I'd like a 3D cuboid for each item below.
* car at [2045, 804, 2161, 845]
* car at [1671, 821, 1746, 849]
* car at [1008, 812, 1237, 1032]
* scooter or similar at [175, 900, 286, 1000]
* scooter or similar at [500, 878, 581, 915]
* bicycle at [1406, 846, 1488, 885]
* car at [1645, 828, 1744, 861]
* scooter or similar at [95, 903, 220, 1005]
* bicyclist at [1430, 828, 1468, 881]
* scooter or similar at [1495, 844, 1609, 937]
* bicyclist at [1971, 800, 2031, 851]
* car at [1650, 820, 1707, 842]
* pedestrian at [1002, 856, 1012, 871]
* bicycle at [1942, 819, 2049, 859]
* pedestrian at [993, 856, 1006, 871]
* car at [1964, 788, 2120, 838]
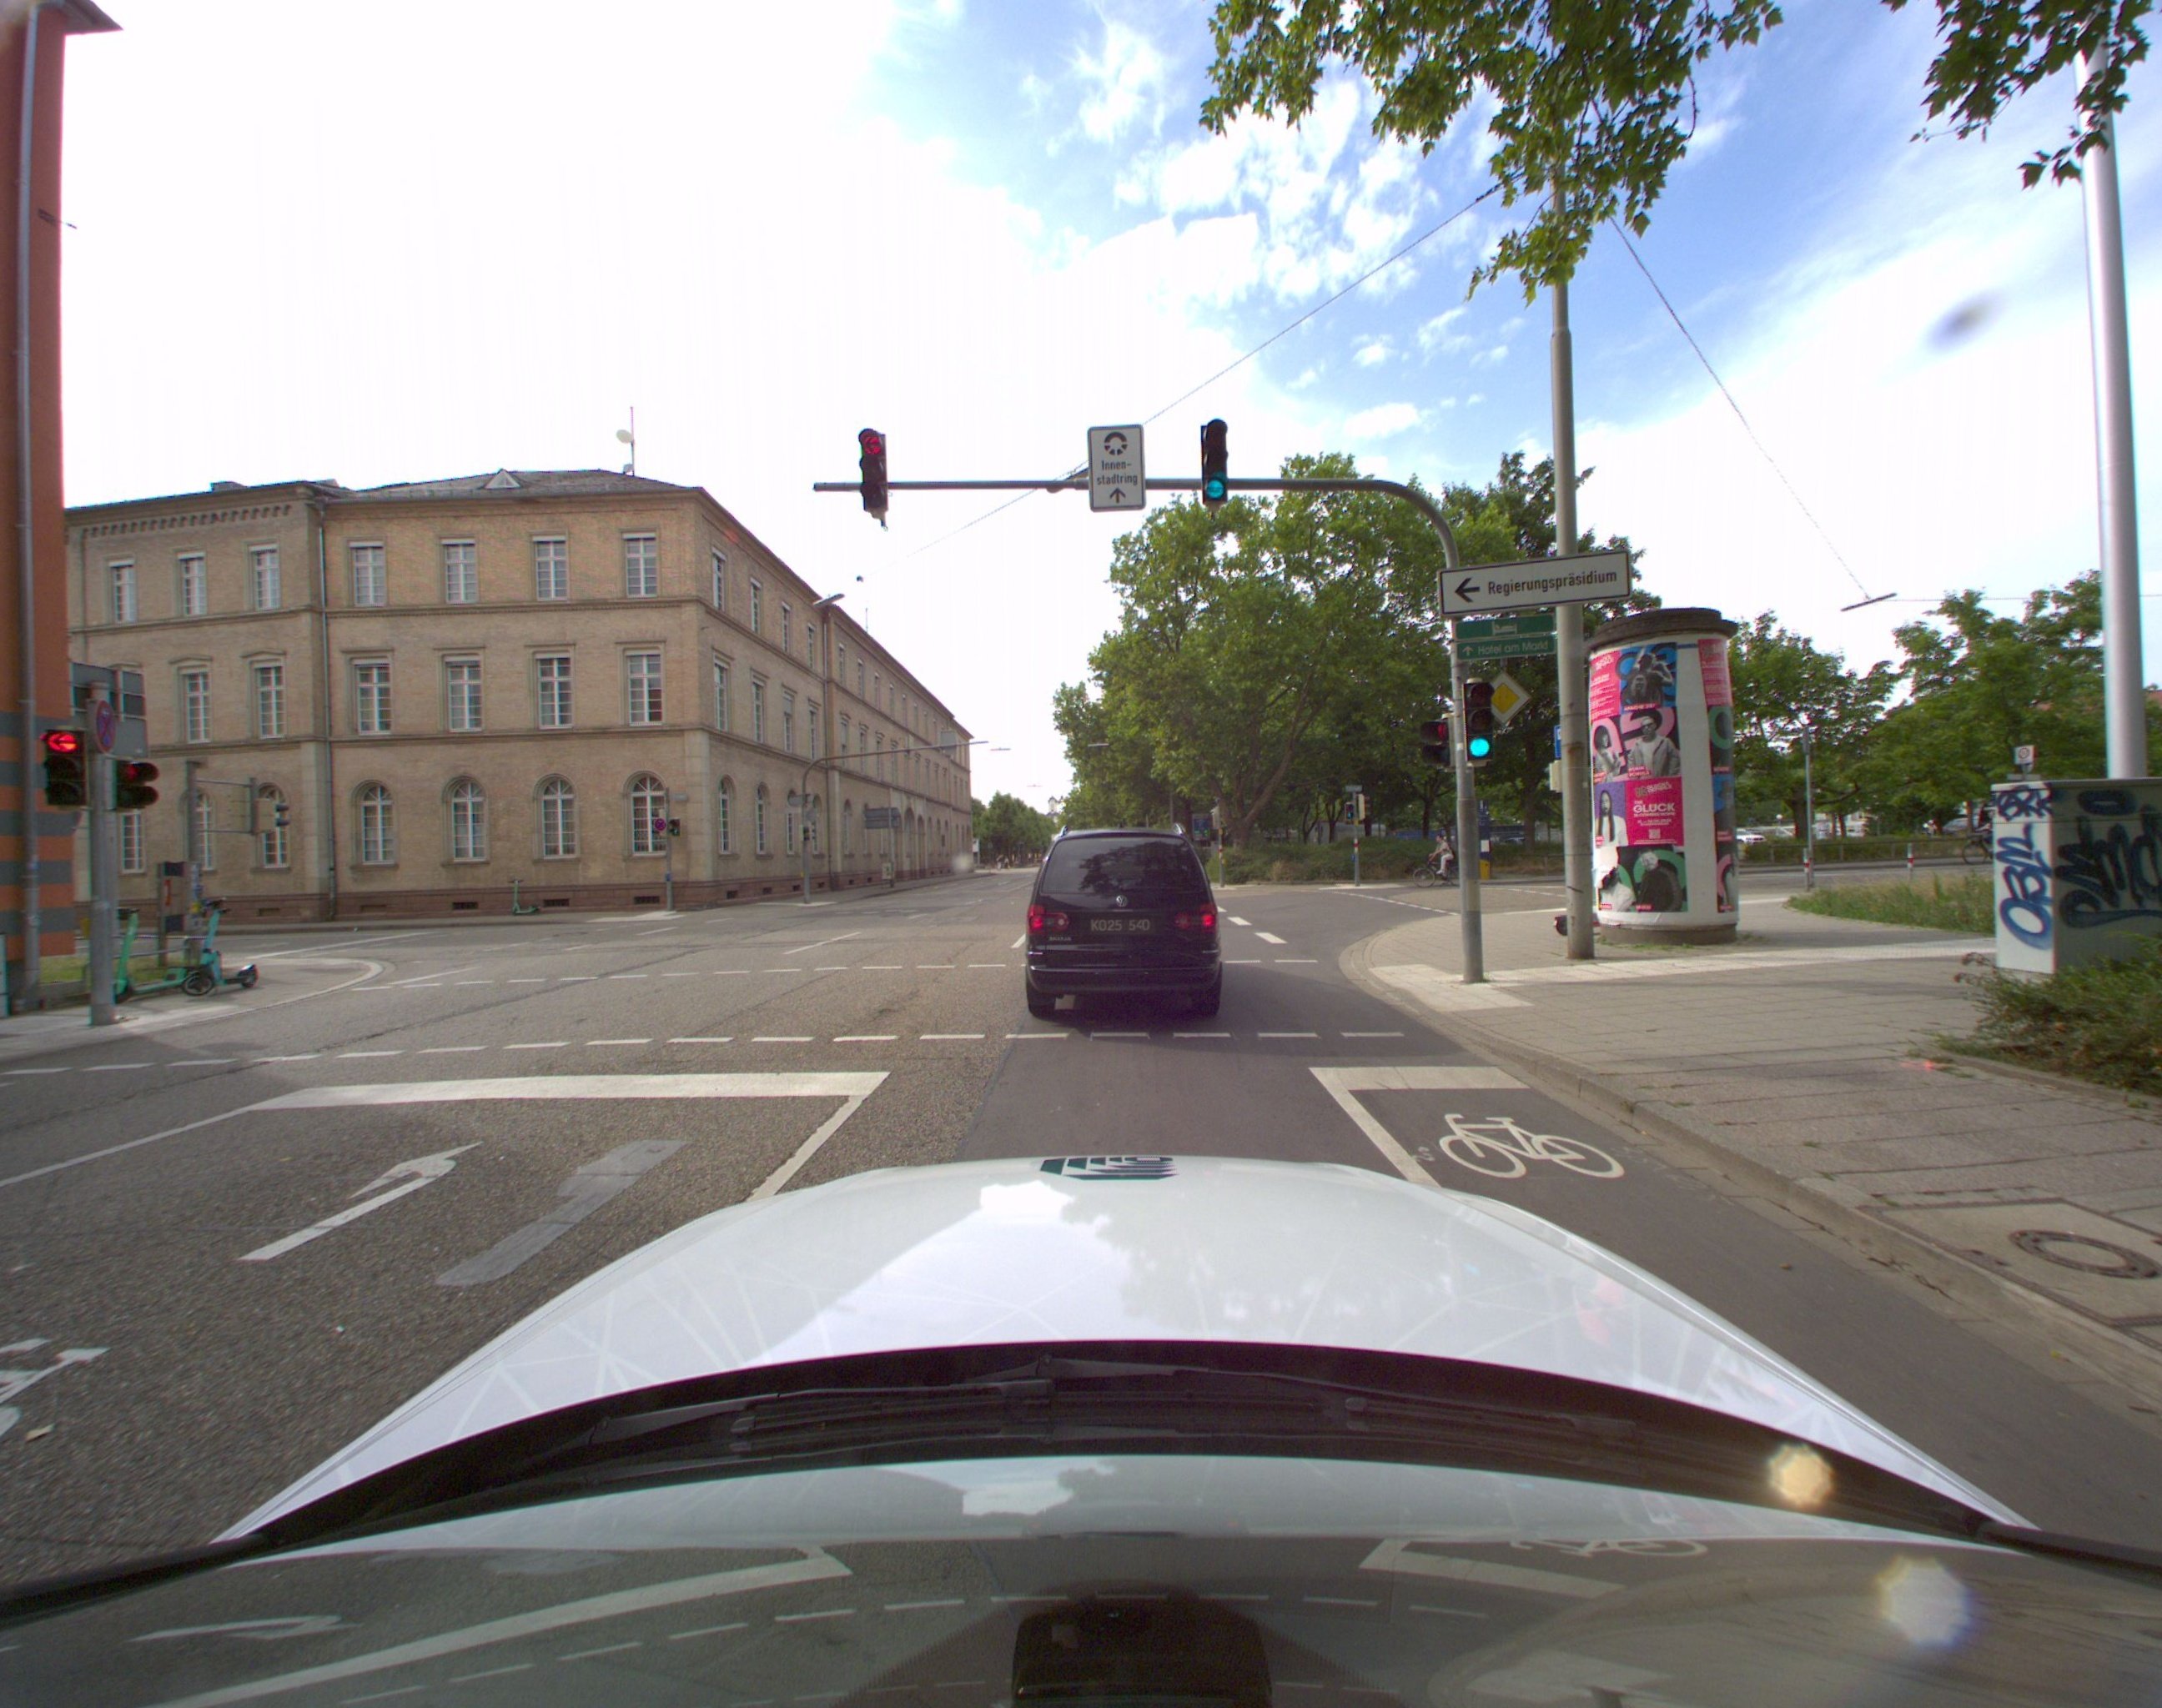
[{"bbox_3d":[44.526,-1.208,34.457,1.985,1.630,4.777,0,0,3],"label":"car"},{"bbox_3d":[48.267,-1.423,62.771,1.989,2.013,4.768,0,0,-3],"label":"car"},{"bbox_3d":[0.379,0.546,8.643,1.787,1.708,4.132,-2,0,1],"label":"car"},{"bbox_3d":[-11.379,1.245,10.941,0.329,1.179,1.338,0,0,-11],"label":"scooter or similar"},{"bbox_3d":[-17.255,1.355,26.009,2.355,1.165,0.561,0,0,7],"label":"scooter or similar"},{"bbox_3d":[11.869,0.380,26.503,2.233,1.172,0.917,-2,-2,6],"label":"bicycle"},{"bbox_3d":[34.813,-0.532,46.410,1.988,1.794,4.771,0,0,-1],"label":"car"},{"bbox_3d":[-11.999,1.262,10.628,0.329,1.158,1.349,0,0,-11],"label":"scooter or similar"},{"bbox_3d":[11.970,0.036,26.503,0.825,1.678,0.917,-2,-2,6],"label":"bicyclist"},{"bbox_3d":[6.627,0.505,11.489,1.299,1.209,0.345,-4,-1,6],"label":"scooter or similar"},{"bbox_3d":[29.923,-0.918,26.502,0.825,1.577,0.917,-2,-2,6],"label":"bicyclist"},{"bbox_3d":[58.246,-2.226,79.479,1.988,2.013,4.771,0,0,-1],"label":"car"},{"bbox_3d":[-8.277,1.056,91.309,0.888,1.641,0.856,0,0,20],"label":"pedestrian"},{"bbox_3d":[29.753,-0.472,26.527,2.233,1.172,0.917,-2,-2,6],"label":"bicycle"},{"bbox_3d":[-9.161,1.047,91.675,0.952,1.741,1.262,0,0,20],"label":"pedestrian"},{"bbox_3d":[54.531,-2.250,46.421,2.428,2.613,5.494,0,0,-1],"label":"car"}]
